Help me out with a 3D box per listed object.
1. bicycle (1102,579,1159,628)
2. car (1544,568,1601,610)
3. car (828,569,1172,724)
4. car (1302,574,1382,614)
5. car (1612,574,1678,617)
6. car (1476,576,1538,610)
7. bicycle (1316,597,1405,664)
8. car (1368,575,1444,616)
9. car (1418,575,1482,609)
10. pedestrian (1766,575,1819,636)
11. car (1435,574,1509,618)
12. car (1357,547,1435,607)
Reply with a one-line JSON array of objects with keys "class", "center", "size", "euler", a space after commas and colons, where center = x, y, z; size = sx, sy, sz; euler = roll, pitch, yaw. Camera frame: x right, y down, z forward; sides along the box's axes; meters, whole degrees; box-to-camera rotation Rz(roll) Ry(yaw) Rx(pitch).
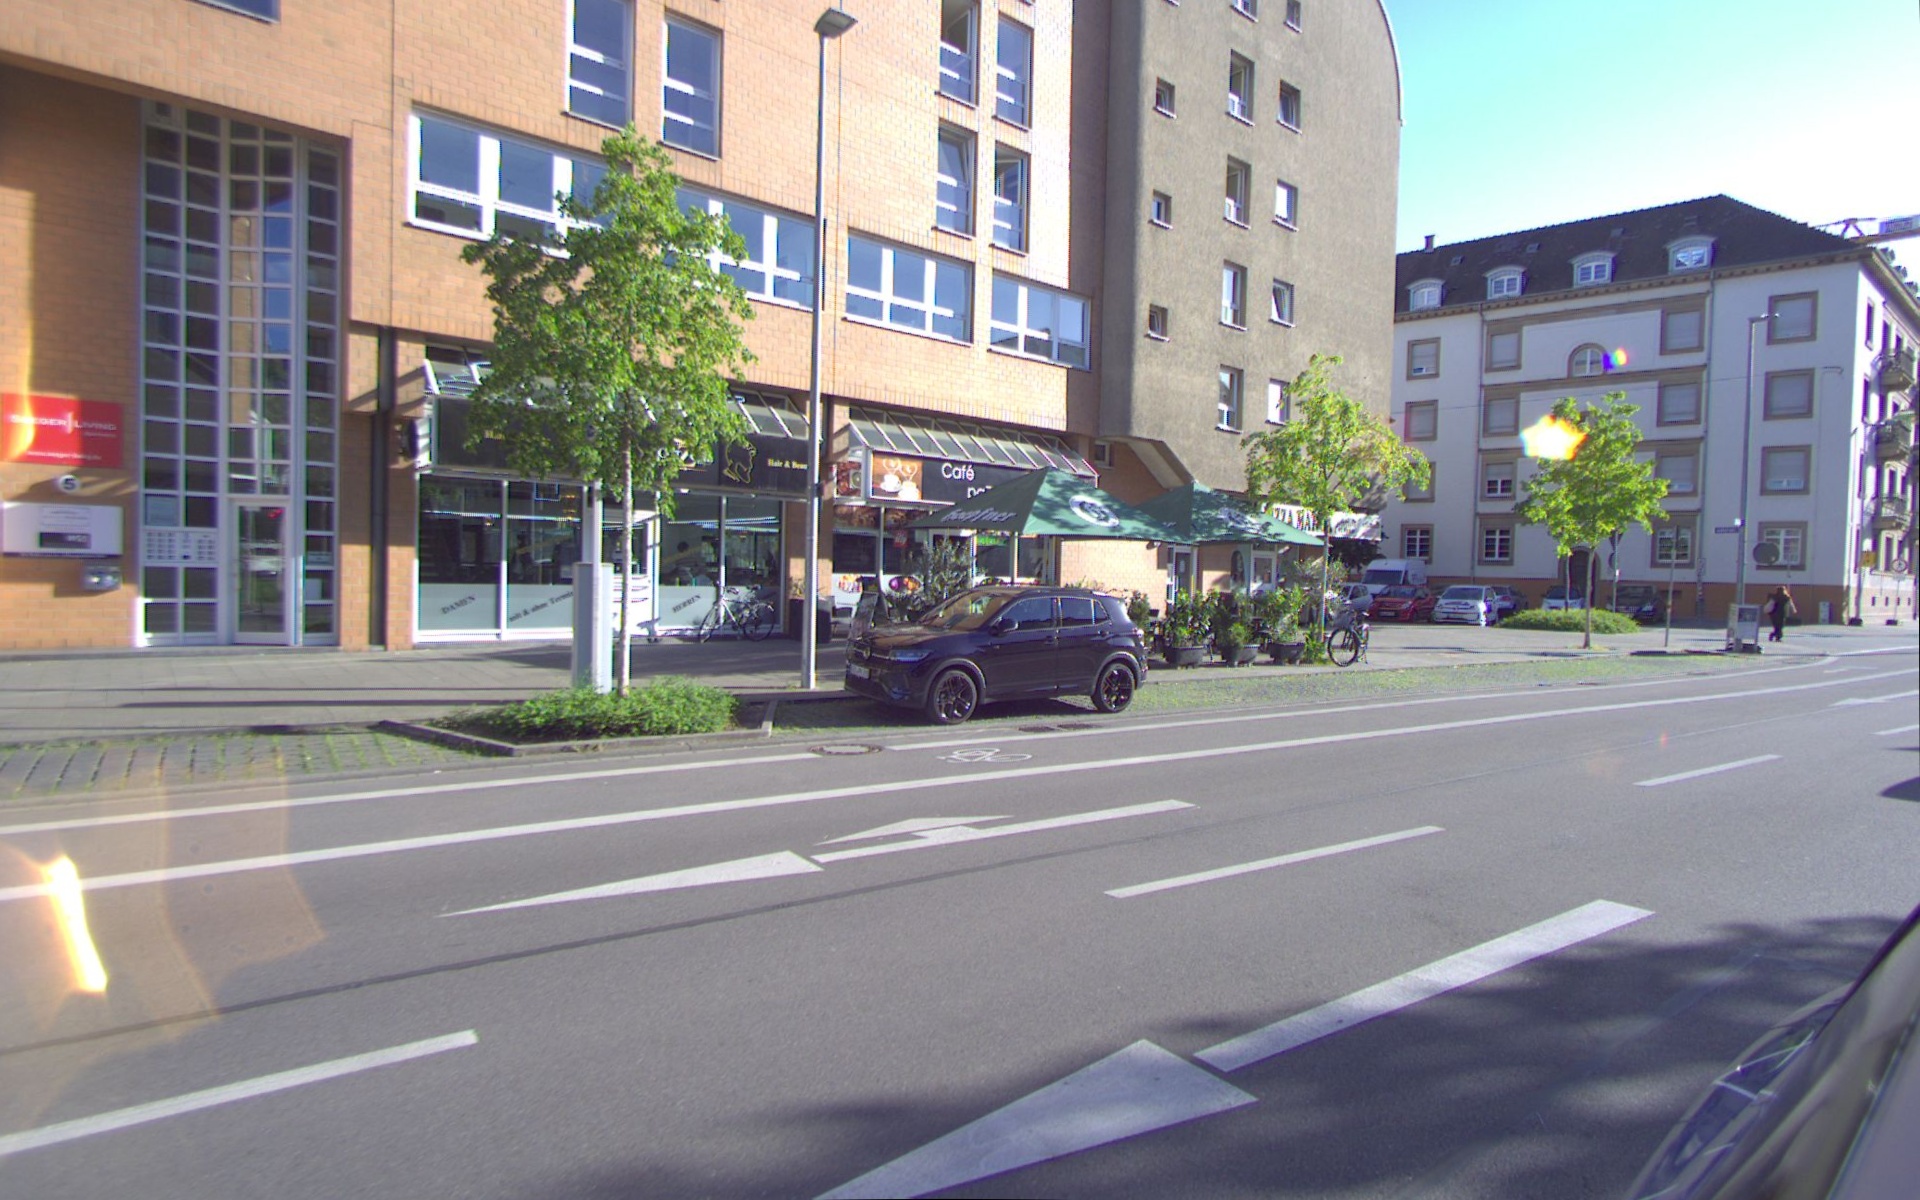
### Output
[{"class": "bicycle", "center": [4.374, 0.084, 25.867], "size": [1.511, 1.183, 0.614], "euler": [0, 3, -43]}, {"class": "car", "center": [26.949, -0.533, 44.456], "size": [1.620, 1.707, 4.380], "euler": [1, 3, 38]}, {"class": "car", "center": [0.581, 0.478, 12.952], "size": [4.149, 1.657, 1.728], "euler": [0, 3, -34]}, {"class": "car", "center": [14.875, -0.242, 39.341], "size": [1.632, 1.473, 3.676], "euler": [0, 0, 43]}, {"class": "car", "center": [28.782, -0.204, 42.481], "size": [1.691, 1.708, 4.372], "euler": [0, 0, 42]}, {"class": "car", "center": [24.881, -0.350, 45.949], "size": [1.689, 1.447, 4.378], "euler": [0, 1, 39]}, {"class": "bicycle", "center": [7.764, 0.556, 19.583], "size": [1.965, 1.093, 0.767], "euler": [-2, 8, -43]}, {"class": "car", "center": [16.645, -0.173, 37.716], "size": [1.630, 1.471, 3.603], "euler": [0, 0, 40]}, {"class": "car", "center": [23.177, -0.407, 47.759], "size": [1.690, 1.497, 4.376], "euler": [0, 1, 40]}, {"class": "pedestrian", "center": [25.861, 0.153, 31.438], "size": [1.083, 1.784, 0.888], "euler": [-1, 4, -30]}, {"class": "car", "center": [18.396, -0.135, 36.273], "size": [1.659, 1.493, 3.783], "euler": [0, 0, 38]}, {"class": "car", "center": [21.000, -1.189, 48.646], "size": [1.920, 2.640, 5.882], "euler": [2, 4, 39]}]
